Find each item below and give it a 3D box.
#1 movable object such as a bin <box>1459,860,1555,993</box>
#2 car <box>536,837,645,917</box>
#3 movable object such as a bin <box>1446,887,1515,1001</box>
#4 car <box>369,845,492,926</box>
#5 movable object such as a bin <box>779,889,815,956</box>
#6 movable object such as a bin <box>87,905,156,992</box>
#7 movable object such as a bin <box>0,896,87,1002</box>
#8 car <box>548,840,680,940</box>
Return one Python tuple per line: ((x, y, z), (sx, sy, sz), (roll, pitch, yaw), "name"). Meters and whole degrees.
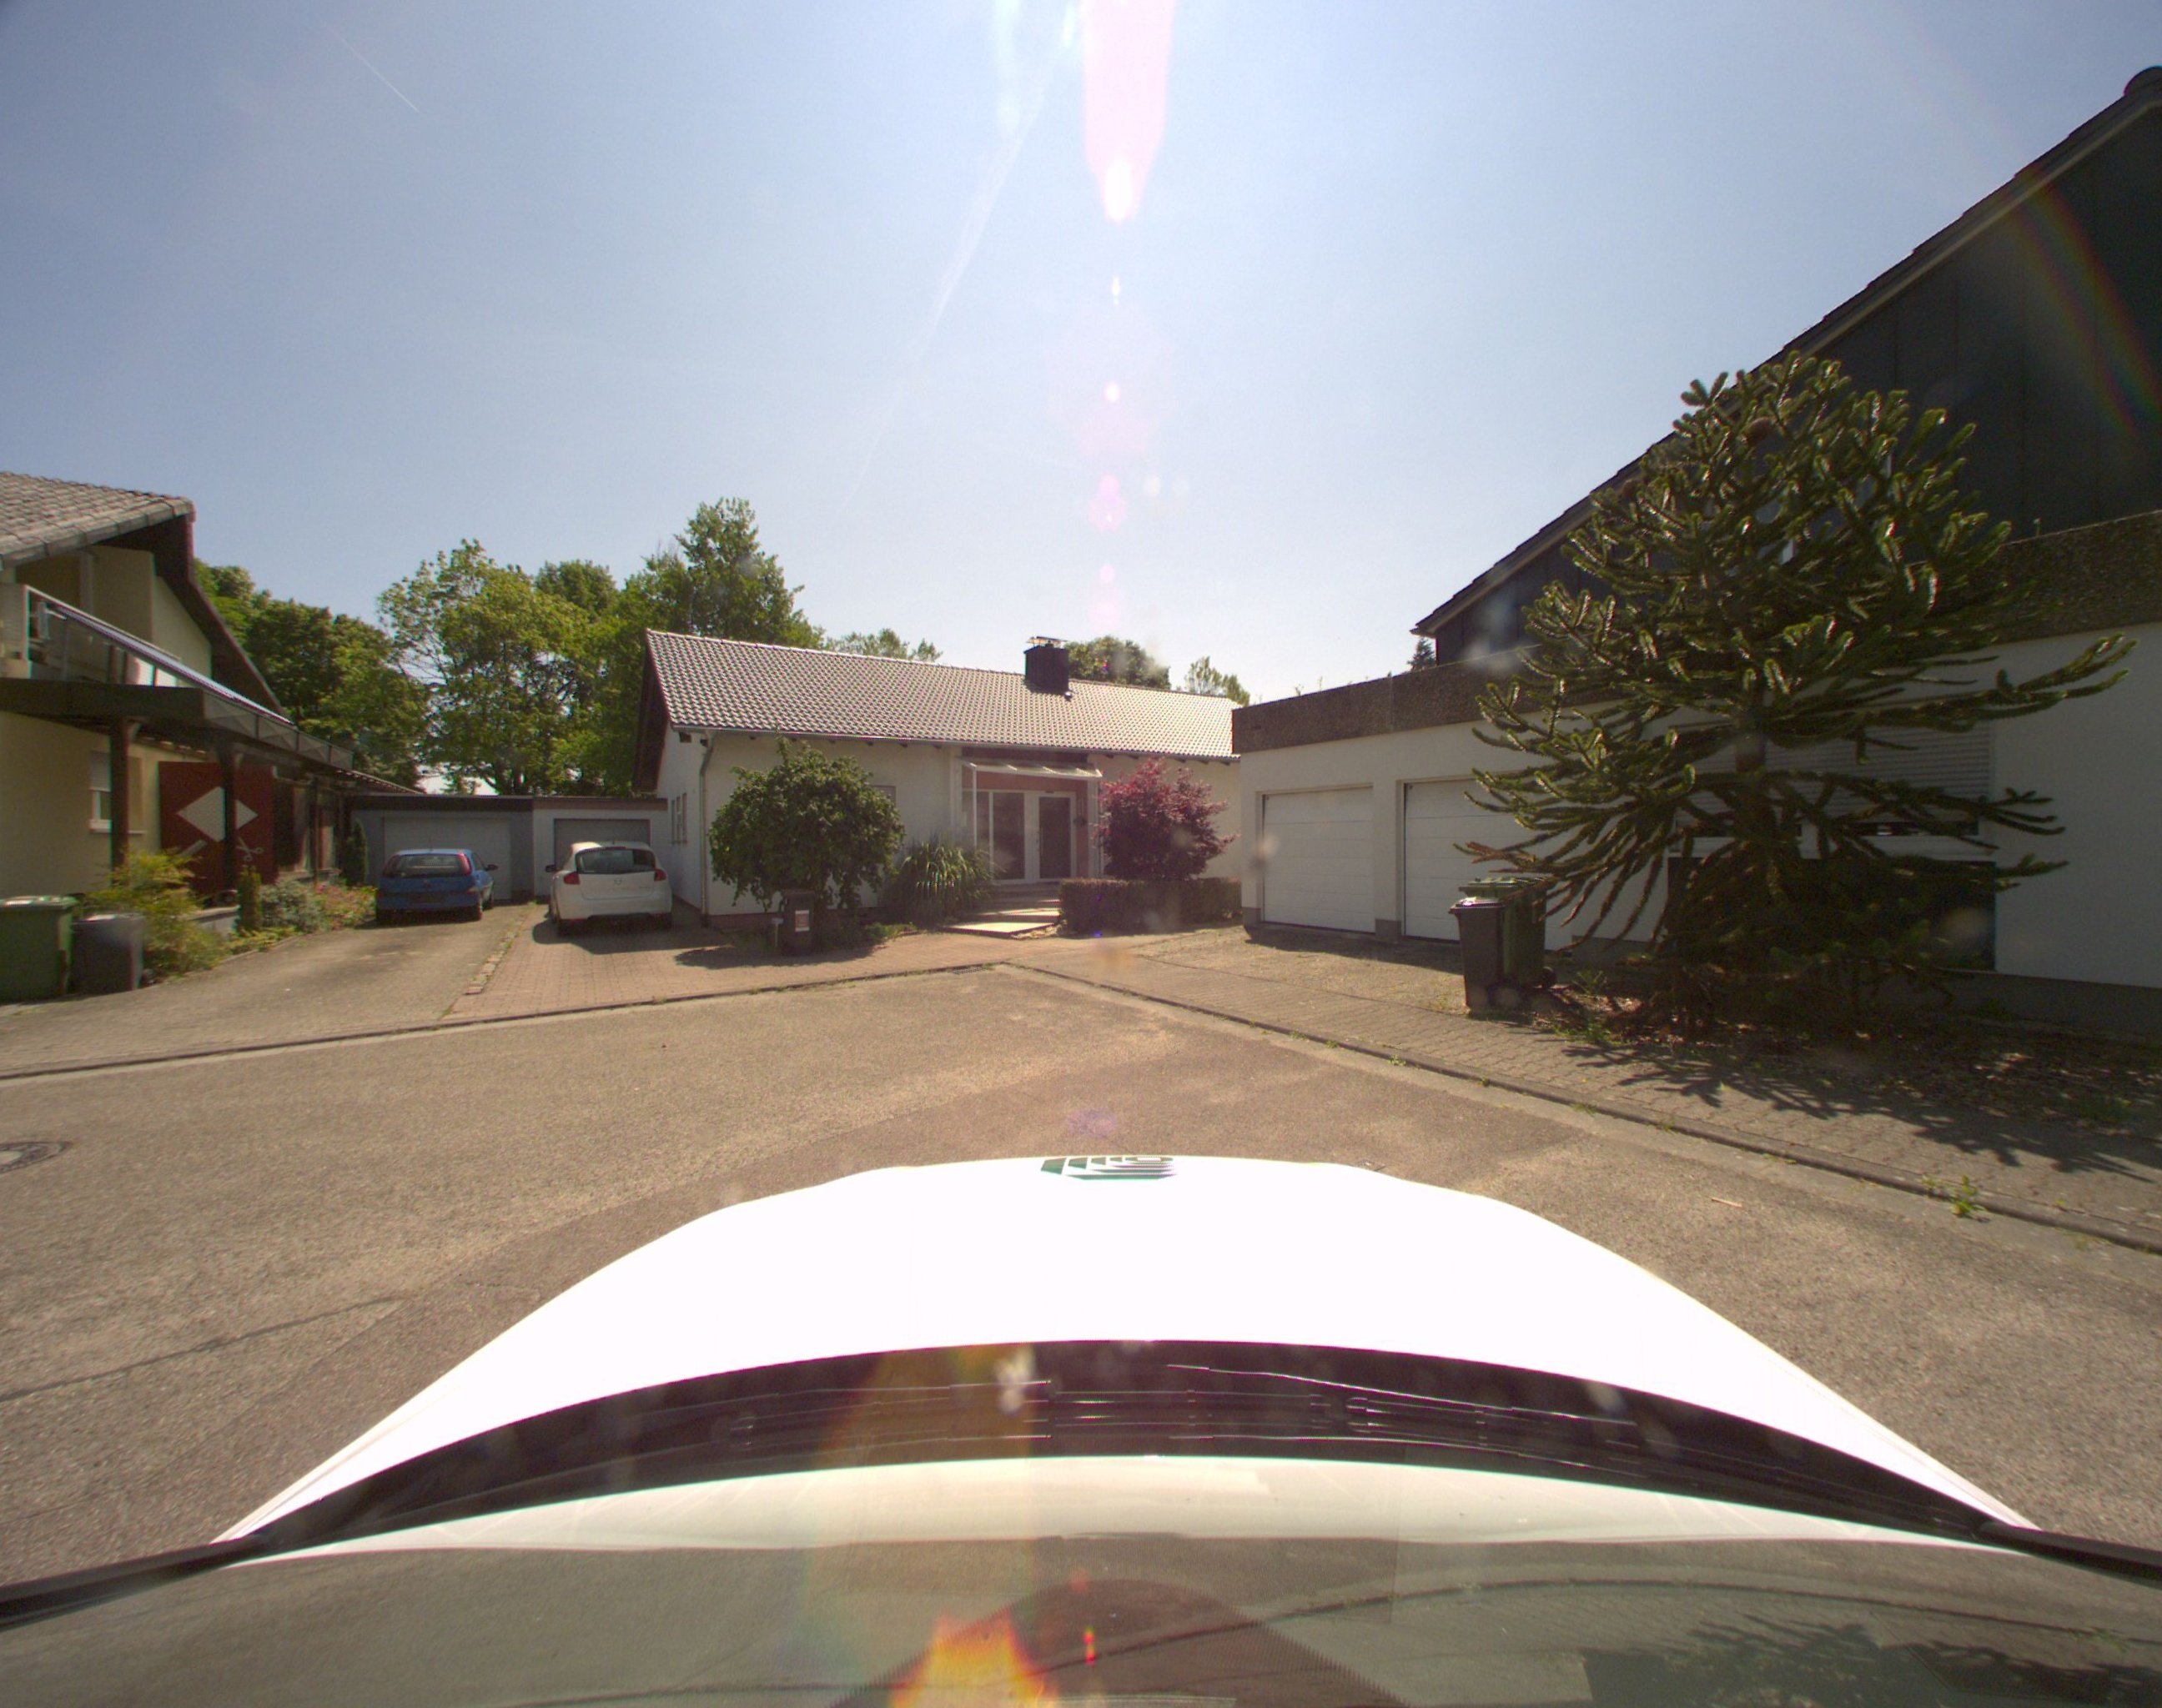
((4.103, 0.667, 7.858), (0.553, 1.203, 0.627), (-1, 0, -31), "movable object such as a bin")
((-11.285, 0.421, 18.796), (1.935, 1.607, 3.961), (-2, 2, -31), "car")
((3.584, 0.790, 7.304), (0.517, 0.949, 0.392), (0, 0, 32), "movable object such as a bin")
((-13.500, 0.577, 17.074), (1.625, 1.454, 3.222), (-1, 2, -32), "car")
((-3.977, 0.947, 11.400), (0.376, 0.891, 0.386), (-2, 1, -33), "movable object such as a bin")
((-10.615, 1.031, 9.022), (0.410, 0.891, 0.421), (-2, 1, -40), "movable object such as a bin")
((-11.128, 0.992, 8.662), (0.596, 1.041, 0.486), (-2, 1, -39), "movable object such as a bin")
((-8.710, 0.541, 15.026), (1.759, 1.568, 3.957), (-1, 1, -35), "car")
